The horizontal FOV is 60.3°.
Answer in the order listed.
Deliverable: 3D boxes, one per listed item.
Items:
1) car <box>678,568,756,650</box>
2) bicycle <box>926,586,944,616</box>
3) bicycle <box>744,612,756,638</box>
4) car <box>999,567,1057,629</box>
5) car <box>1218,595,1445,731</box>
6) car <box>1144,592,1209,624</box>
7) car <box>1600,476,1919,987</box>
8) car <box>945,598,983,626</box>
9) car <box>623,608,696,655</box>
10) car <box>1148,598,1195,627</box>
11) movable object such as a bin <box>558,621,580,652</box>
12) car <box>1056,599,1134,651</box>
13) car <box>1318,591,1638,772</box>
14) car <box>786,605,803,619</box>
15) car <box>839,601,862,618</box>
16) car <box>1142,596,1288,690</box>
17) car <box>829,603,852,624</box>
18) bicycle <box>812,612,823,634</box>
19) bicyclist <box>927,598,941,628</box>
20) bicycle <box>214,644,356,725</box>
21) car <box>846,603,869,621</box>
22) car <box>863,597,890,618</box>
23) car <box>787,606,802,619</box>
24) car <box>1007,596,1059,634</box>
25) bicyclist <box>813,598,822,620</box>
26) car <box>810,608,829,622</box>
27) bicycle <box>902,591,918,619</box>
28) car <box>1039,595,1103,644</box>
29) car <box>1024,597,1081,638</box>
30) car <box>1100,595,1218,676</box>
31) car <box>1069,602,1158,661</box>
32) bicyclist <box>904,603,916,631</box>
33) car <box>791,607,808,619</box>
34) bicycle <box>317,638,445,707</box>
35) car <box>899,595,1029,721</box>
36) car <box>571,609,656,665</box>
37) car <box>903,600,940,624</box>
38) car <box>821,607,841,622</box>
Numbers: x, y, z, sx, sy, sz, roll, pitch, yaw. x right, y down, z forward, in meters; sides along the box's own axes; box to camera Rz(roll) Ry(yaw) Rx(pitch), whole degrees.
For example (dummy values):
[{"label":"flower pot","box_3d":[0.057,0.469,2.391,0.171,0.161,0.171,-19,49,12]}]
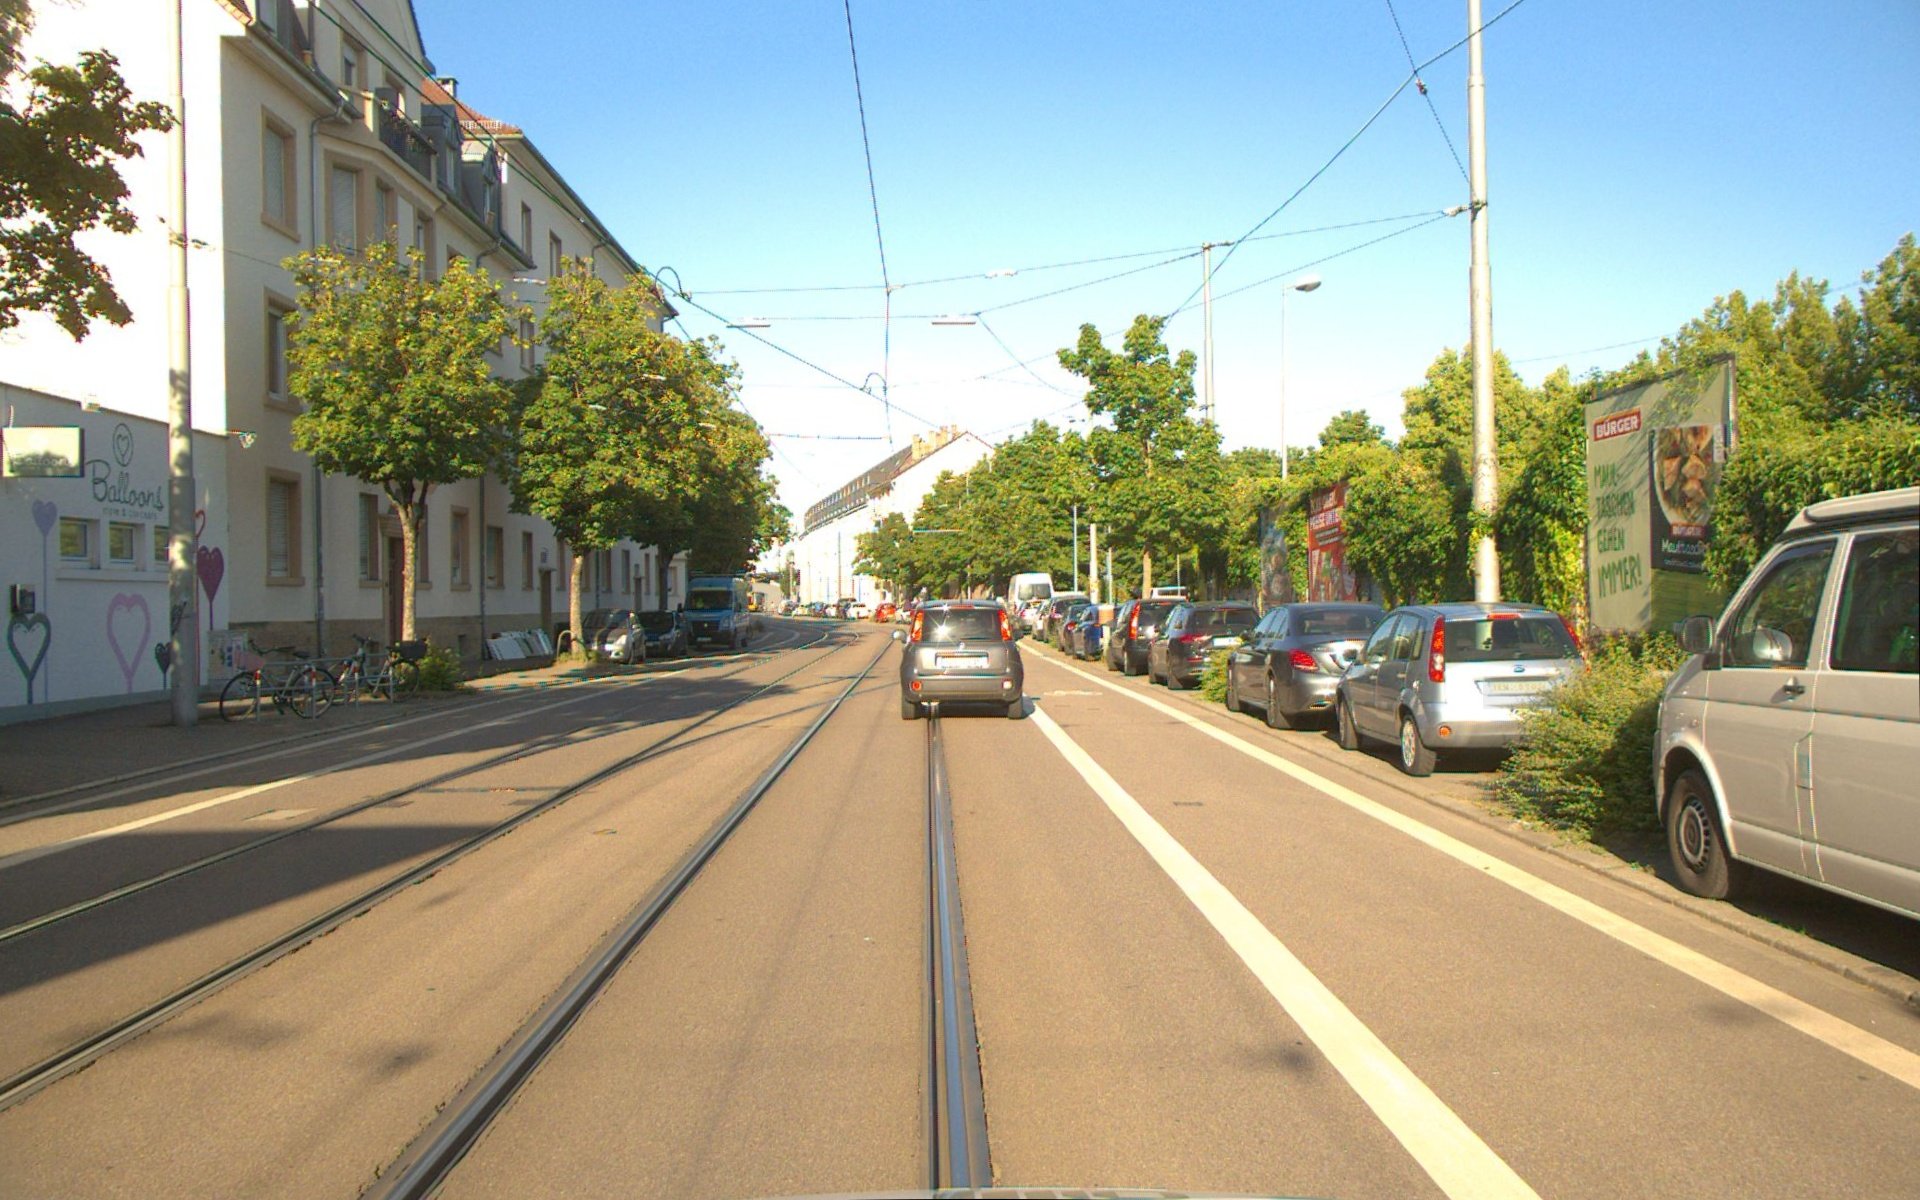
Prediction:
[{"label":"car","box_3d":[-8.894,0.333,61.039,1.976,2.875,6.031,0,0,0]},{"label":"bicycle","box_3d":[-1.505,0.073,98.104,0.663,1.777,2.151,0,-1,-12]},{"label":"bicycle","box_3d":[-9.418,1.126,74.148,0.502,1.154,2.027,0,0,-8]},{"label":"car","box_3d":[3.202,-0.090,78.920,2.137,2.712,6.087,-3,0,-3]},{"label":"car","box_3d":[4.477,0.711,20.623,1.787,1.510,4.601,0,0,0]},{"label":"car","box_3d":[15.268,0.570,116.584,4.199,2.049,1.771,-3,0,-7]},{"label":"car","box_3d":[4.708,0.505,7.204,1.816,2.026,5.242,-1,0,1]},{"label":"car","box_3d":[0.215,0.707,97.889,1.657,1.556,3.993,-2,0,-8]},{"label":"car","box_3d":[-9.586,0.973,53.085,1.618,1.450,4.189,0,0,-1]},{"label":"car","box_3d":[7.928,0.471,62.183,1.283,1.051,3.055,0,0,-2]},{"label":"movable object such as a bin","box_3d":[-12.290,1.138,51.999,0.584,0.951,0.568,-1,0,-4]},{"label":"car","box_3d":[4.003,0.720,49.575,1.694,1.490,4.494,0,0,-4]},{"label":"car","box_3d":[4.750,0.691,15.794,1.834,1.498,4.075,0,0,1]},{"label":"car","box_3d":[-19.521,1.362,195.021,1.555,1.627,3.366,0,0,-12]},{"label":"car","box_3d":[-10.026,0.887,151.652,1.626,1.599,3.865,0,0,-12]},{"label":"car","box_3d":[4.390,0.710,29.136,1.787,1.477,4.641,-1,0,-1]},{"label":"car","box_3d":[-11.639,1.277,160.576,1.626,1.978,4.651,0,0,-12]},{"label":"bicycle","box_3d":[-13.541,2.166,157.254,0.728,2.049,2.803,0,0,-12]},{"label":"bicyclist","box_3d":[-1.541,0.781,98.209,0.687,1.790,0.755,0,-1,-12]},{"label":"bicycle","box_3d":[-9.463,1.165,23.254,0.656,1.058,1.780,0,-1,36]},{"label":"car","box_3d":[-9.133,1.045,147.391,1.626,1.599,3.489,0,0,-12]},{"label":"car","box_3d":[-6.512,0.607,129.139,1.606,1.534,3.388,-3,0,-11]},{"label":"car","box_3d":[-20.733,1.518,207.590,1.555,1.627,3.366,0,0,-12]},{"label":"car","box_3d":[3.164,0.642,72.155,1.872,1.556,4.598,-2,0,-2]},{"label":"bicyclist","box_3d":[-13.552,0.841,157.301,0.702,2.049,0.829,0,-1,-12]},{"label":"car","box_3d":[-14.923,1.574,175.317,1.556,1.429,3.366,-4,1,-12]},{"label":"bicycle","box_3d":[-3.266,0.338,107.277,0.663,1.777,2.151,0,-1,-12]},{"label":"car","box_3d":[3.884,0.673,58.256,1.694,1.632,4.339,0,0,-4]},{"label":"car","box_3d":[3.484,0.658,63.025,1.694,1.539,4.248,0,0,-4]},{"label":"car","box_3d":[4.156,0.718,35.025,1.788,1.519,3.812,-3,0,-3]},{"label":"car","box_3d":[4.012,0.814,43.833,1.694,1.490,4.337,0,0,-4]},{"label":"bicyclist","box_3d":[-3.255,1.108,107.191,0.687,1.790,0.755,0,-1,-12]},{"label":"car","box_3d":[-18.406,1.488,189.492,1.555,1.430,3.366,0,0,-12]},{"label":"bicycle","box_3d":[-9.408,1.166,26.935,0.523,1.058,1.974,-1,-1,43]},{"label":"car","box_3d":[0.001,0.731,22.756,1.616,1.568,4.233,0,0,-1]},{"label":"car","box_3d":[-9.737,1.010,46.762,1.618,1.517,3.999,0,0,-1]},{"label":"car","box_3d":[-2.682,0.820,114.289,1.660,1.556,3.986,-2,0,-13]},{"label":"car","box_3d":[-13.067,1.443,167.125,1.626,1.526,3.120,0,0,-12]}]
